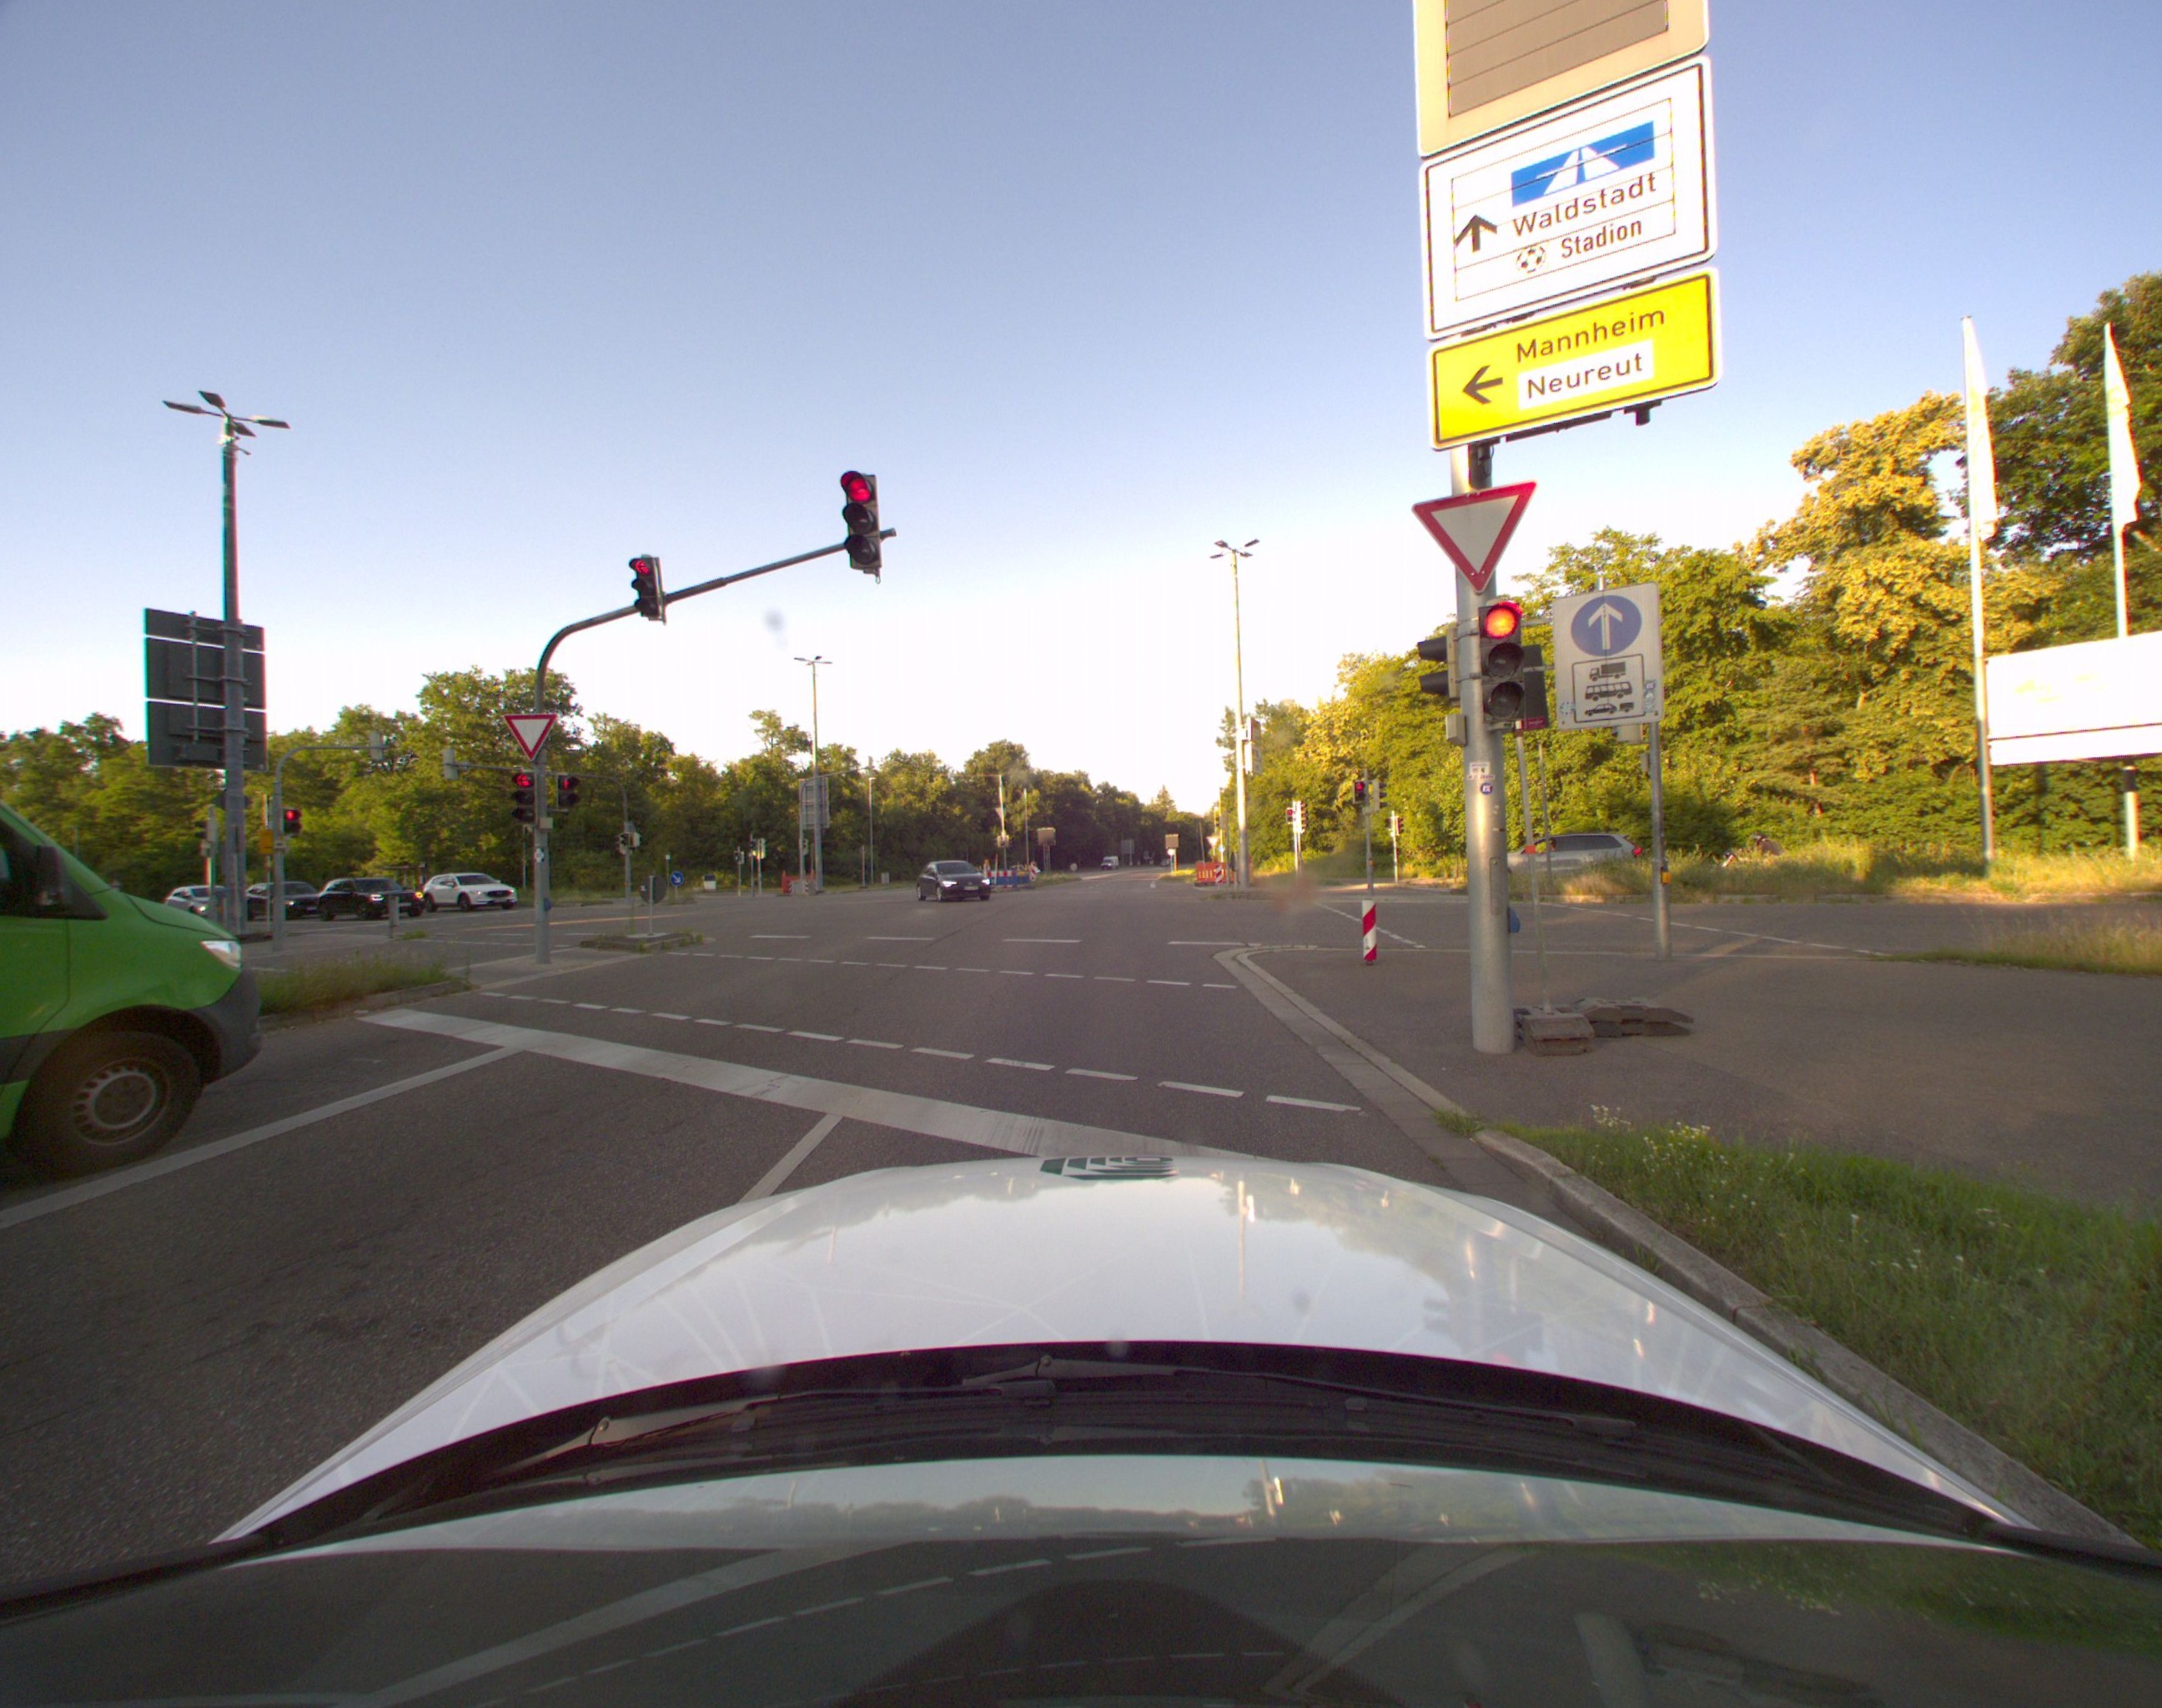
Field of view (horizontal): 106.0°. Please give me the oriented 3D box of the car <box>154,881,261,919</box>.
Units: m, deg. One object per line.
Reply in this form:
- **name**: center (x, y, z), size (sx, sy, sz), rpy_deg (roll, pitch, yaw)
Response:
- **car**: center (-41.262, 2.181, 38.474), size (4.207, 1.640, 2.011), rpy_deg (-2, 0, 21)

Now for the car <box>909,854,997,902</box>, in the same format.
- **car**: center (-4.701, 0.831, 29.307), size (2.002, 1.530, 4.642), rpy_deg (-2, 0, -23)

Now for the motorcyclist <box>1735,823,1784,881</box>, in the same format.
- **motorcyclist**: center (19.204, -0.053, 23.064), size (0.878, 1.595, 0.658), rpy_deg (-2, -1, 23)

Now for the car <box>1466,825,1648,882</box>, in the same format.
- **car**: center (15.026, 0.010, 26.077), size (4.773, 1.598, 2.011), rpy_deg (-2, 0, 23)

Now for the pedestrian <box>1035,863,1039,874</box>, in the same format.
- **pedestrian**: center (-7.938, 2.650, 146.715), size (0.519, 2.014, 0.600), rpy_deg (0, -1, 2)

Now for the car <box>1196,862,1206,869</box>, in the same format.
- **car**: center (28.539, 2.655, 193.424), size (1.979, 1.618, 4.015), rpy_deg (-2, 0, 13)

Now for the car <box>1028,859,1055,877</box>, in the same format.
- **car**: center (-4.557, 1.609, 94.574), size (1.978, 2.013, 4.017), rpy_deg (-2, 0, 16)

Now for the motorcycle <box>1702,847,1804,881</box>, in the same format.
- **motorcycle**: center (19.047, 0.293, 23.136), size (2.125, 0.910, 0.666), rpy_deg (-2, 0, 23)

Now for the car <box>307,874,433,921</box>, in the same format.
- **car**: center (-27.558, 1.674, 31.558), size (4.206, 1.640, 2.011), rpy_deg (-2, 0, 23)

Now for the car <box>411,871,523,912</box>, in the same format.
- **car**: center (-26.764, 1.615, 35.498), size (4.206, 1.640, 2.011), rpy_deg (-2, 0, 23)

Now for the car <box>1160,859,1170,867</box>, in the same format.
- **car**: center (20.471, 2.168, 198.458), size (1.979, 1.640, 4.016), rpy_deg (-3, 0, 14)

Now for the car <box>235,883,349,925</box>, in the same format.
- **car**: center (-33.930, 2.127, 35.033), size (4.205, 1.640, 2.011), rpy_deg (-2, 0, 23)

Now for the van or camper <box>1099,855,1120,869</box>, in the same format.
- **van or camper**: center (5.734, 1.673, 164.237), size (2.865, 2.652, 7.148), rpy_deg (-2, 0, 13)

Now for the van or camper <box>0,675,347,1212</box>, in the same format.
- **van or camper**: center (-5.895, 0.423, 2.415), size (1.987, 2.421, 5.896), rpy_deg (-2, 0, 1)

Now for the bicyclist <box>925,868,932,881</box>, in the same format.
- **bicyclist**: center (-16.441, 2.174, 87.794), size (0.522, 1.387, 0.402), rpy_deg (-1, -1, -40)
